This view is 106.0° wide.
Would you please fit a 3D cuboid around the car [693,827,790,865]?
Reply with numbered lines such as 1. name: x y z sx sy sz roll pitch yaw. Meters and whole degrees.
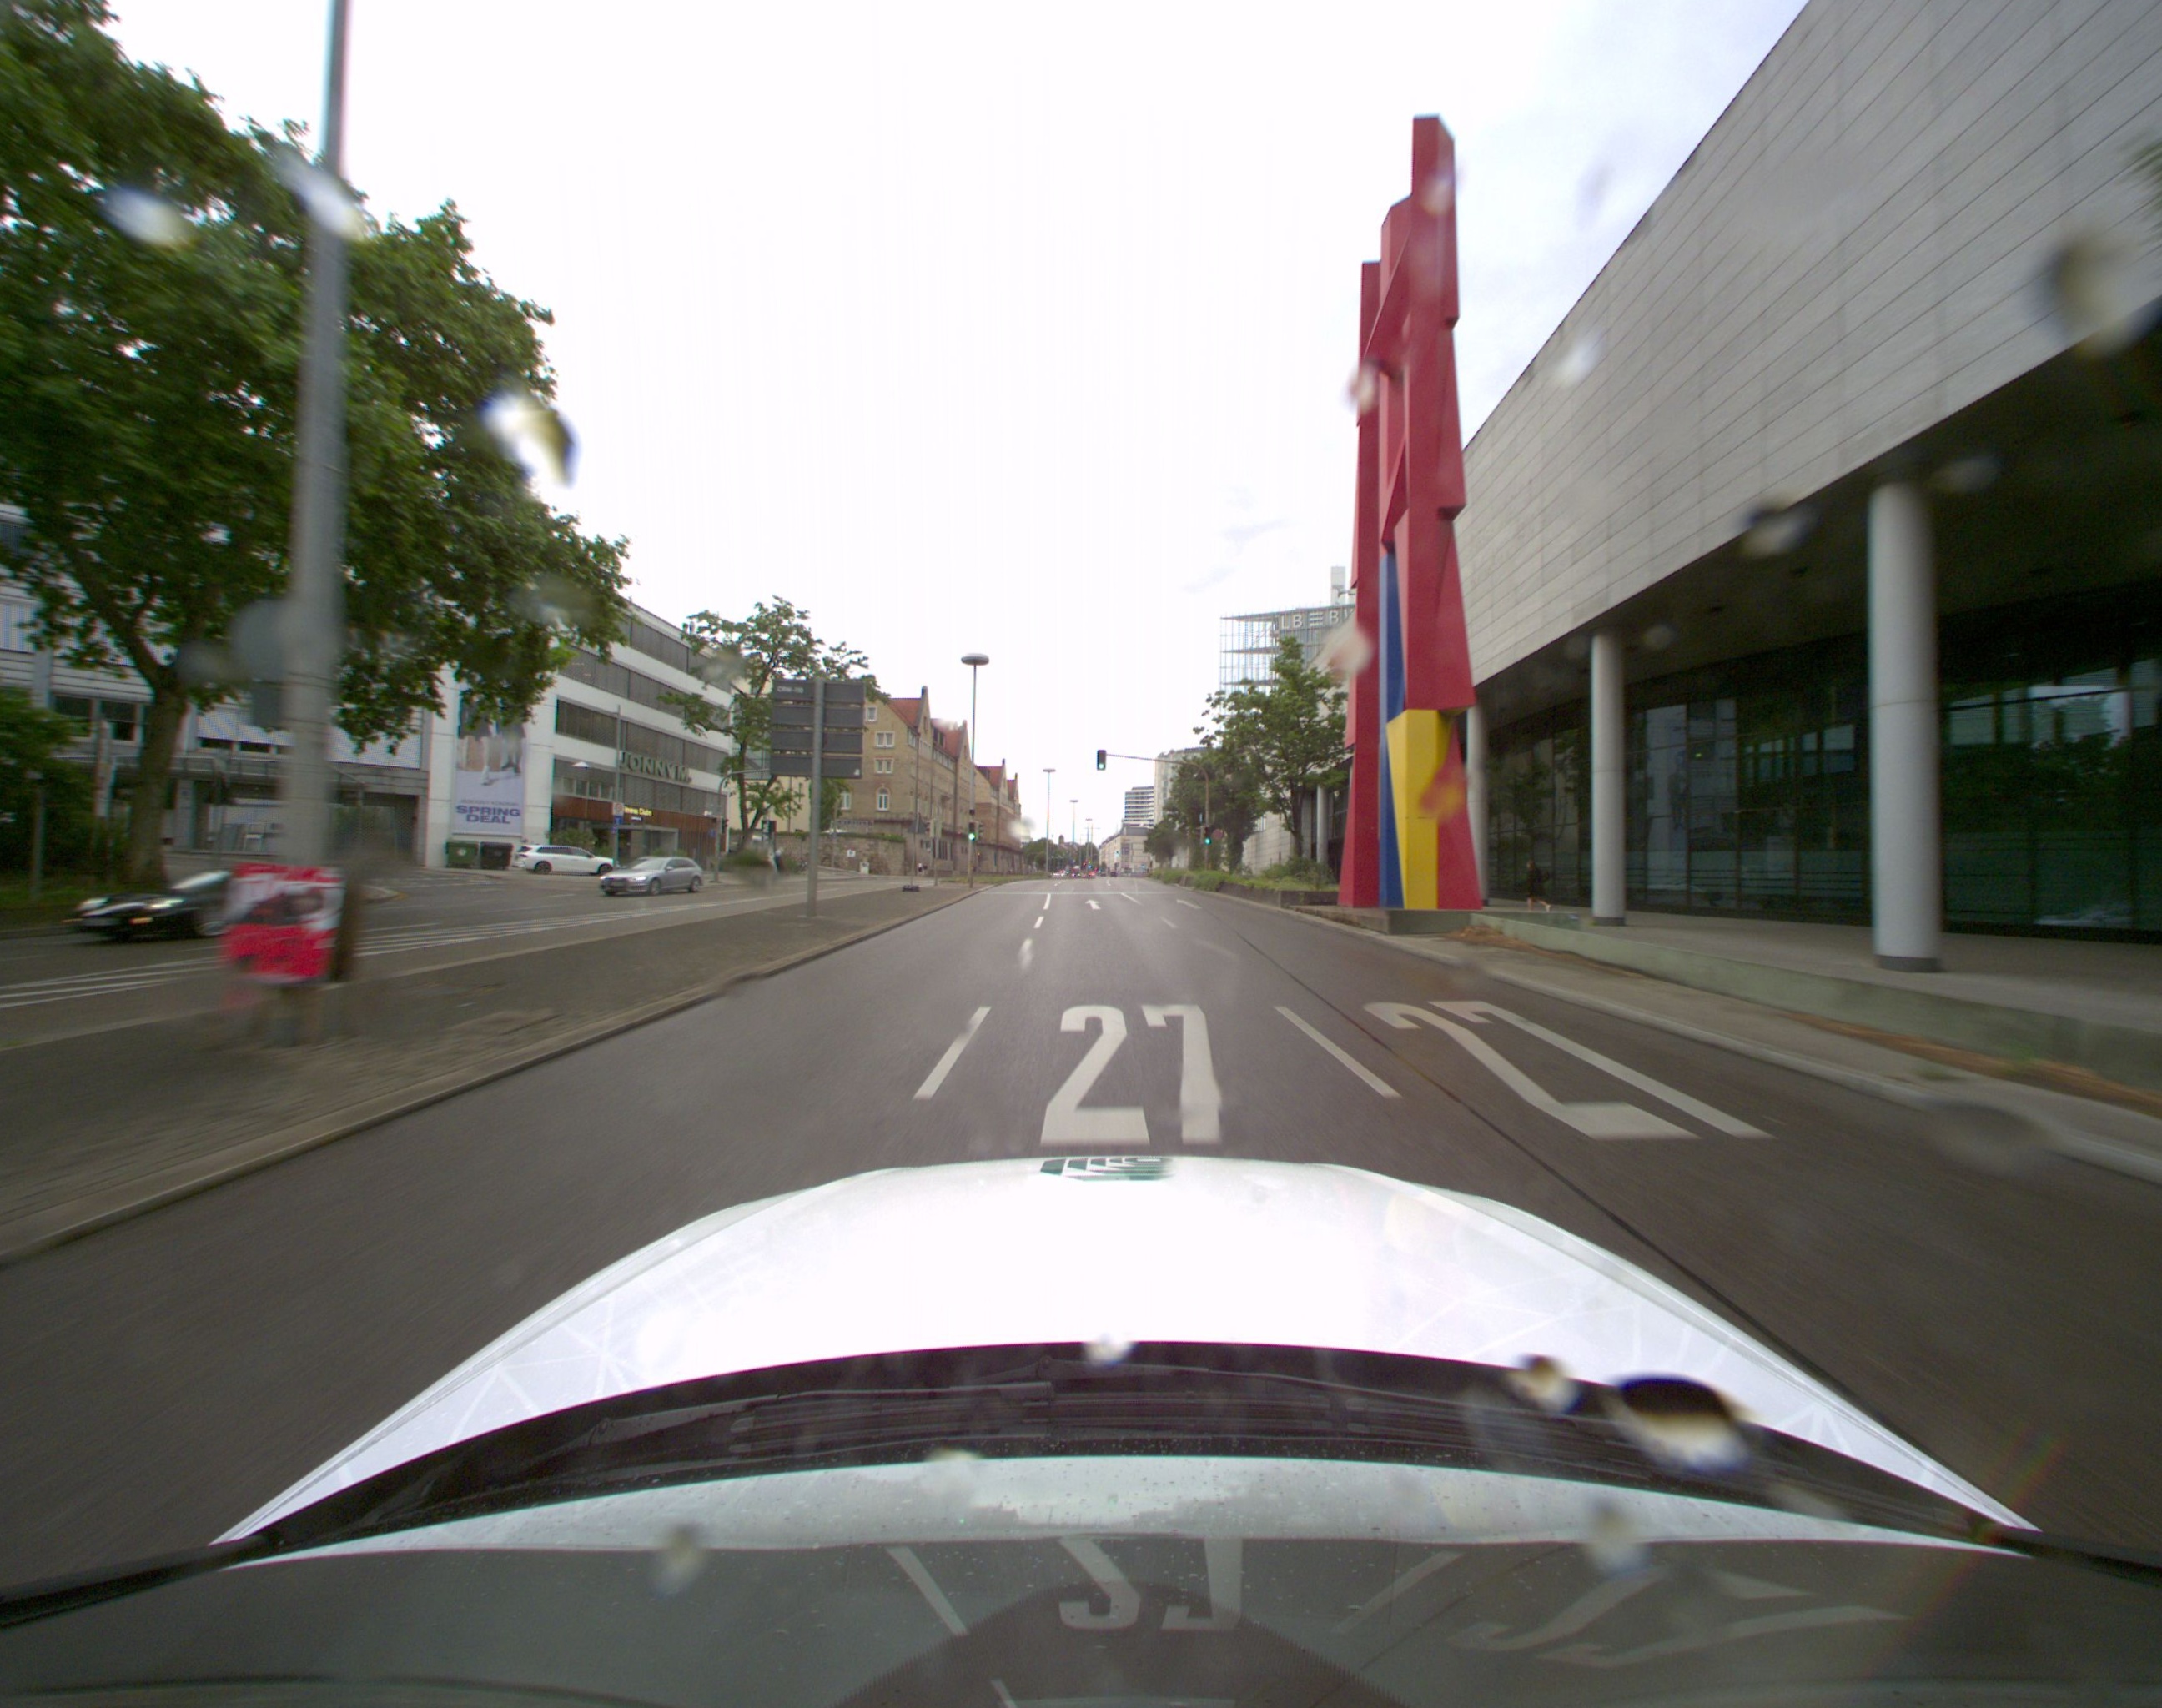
1. car: -28.270 -0.685 67.993 6.873 2.275 2.518 7 3 3

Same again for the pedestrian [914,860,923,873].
1. pedestrian: -17.595 1.357 88.159 0.751 1.478 0.714 0 0 2

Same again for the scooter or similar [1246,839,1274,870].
1. scooter or similar: 8.961 0.012 40.789 1.317 1.531 0.503 1 0 4

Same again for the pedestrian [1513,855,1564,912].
1. pedestrian: 13.104 0.824 23.337 0.967 1.586 0.842 0 0 -1

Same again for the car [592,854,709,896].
1. car: -16.189 0.749 30.956 1.988 1.447 4.877 0 0 -2

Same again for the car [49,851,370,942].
1. car: -16.525 0.718 15.828 1.748 1.519 4.170 0 0 0

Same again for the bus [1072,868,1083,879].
1. bus: -1.043 6.227 256.965 2.687 3.560 10.099 0 -2 3

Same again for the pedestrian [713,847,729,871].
1. pedestrian: -25.594 0.351 57.936 0.765 1.641 0.842 0 0 3

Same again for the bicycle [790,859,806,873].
1. bicycle: -20.798 0.910 59.806 0.454 0.991 1.760 1 -1 3

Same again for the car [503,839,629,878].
1. car: -25.621 0.235 40.639 1.975 1.654 4.872 2 -2 42

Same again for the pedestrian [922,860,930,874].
1. pedestrian: -16.759 1.372 88.153 0.751 1.478 0.714 0 0 2

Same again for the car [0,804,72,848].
1. car: -38.998 -1.077 28.435 1.975 1.465 4.513 1 -2 44

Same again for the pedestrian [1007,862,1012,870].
1. pedestrian: -13.507 2.284 154.118 0.751 1.478 0.714 0 0 2

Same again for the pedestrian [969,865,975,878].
1. pedestrian: -15.354 2.460 114.618 0.638 1.746 0.621 0 0 1

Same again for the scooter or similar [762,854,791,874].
1. scooter or similar: -20.813 0.692 55.645 1.759 1.247 0.367 4 -2 -26
